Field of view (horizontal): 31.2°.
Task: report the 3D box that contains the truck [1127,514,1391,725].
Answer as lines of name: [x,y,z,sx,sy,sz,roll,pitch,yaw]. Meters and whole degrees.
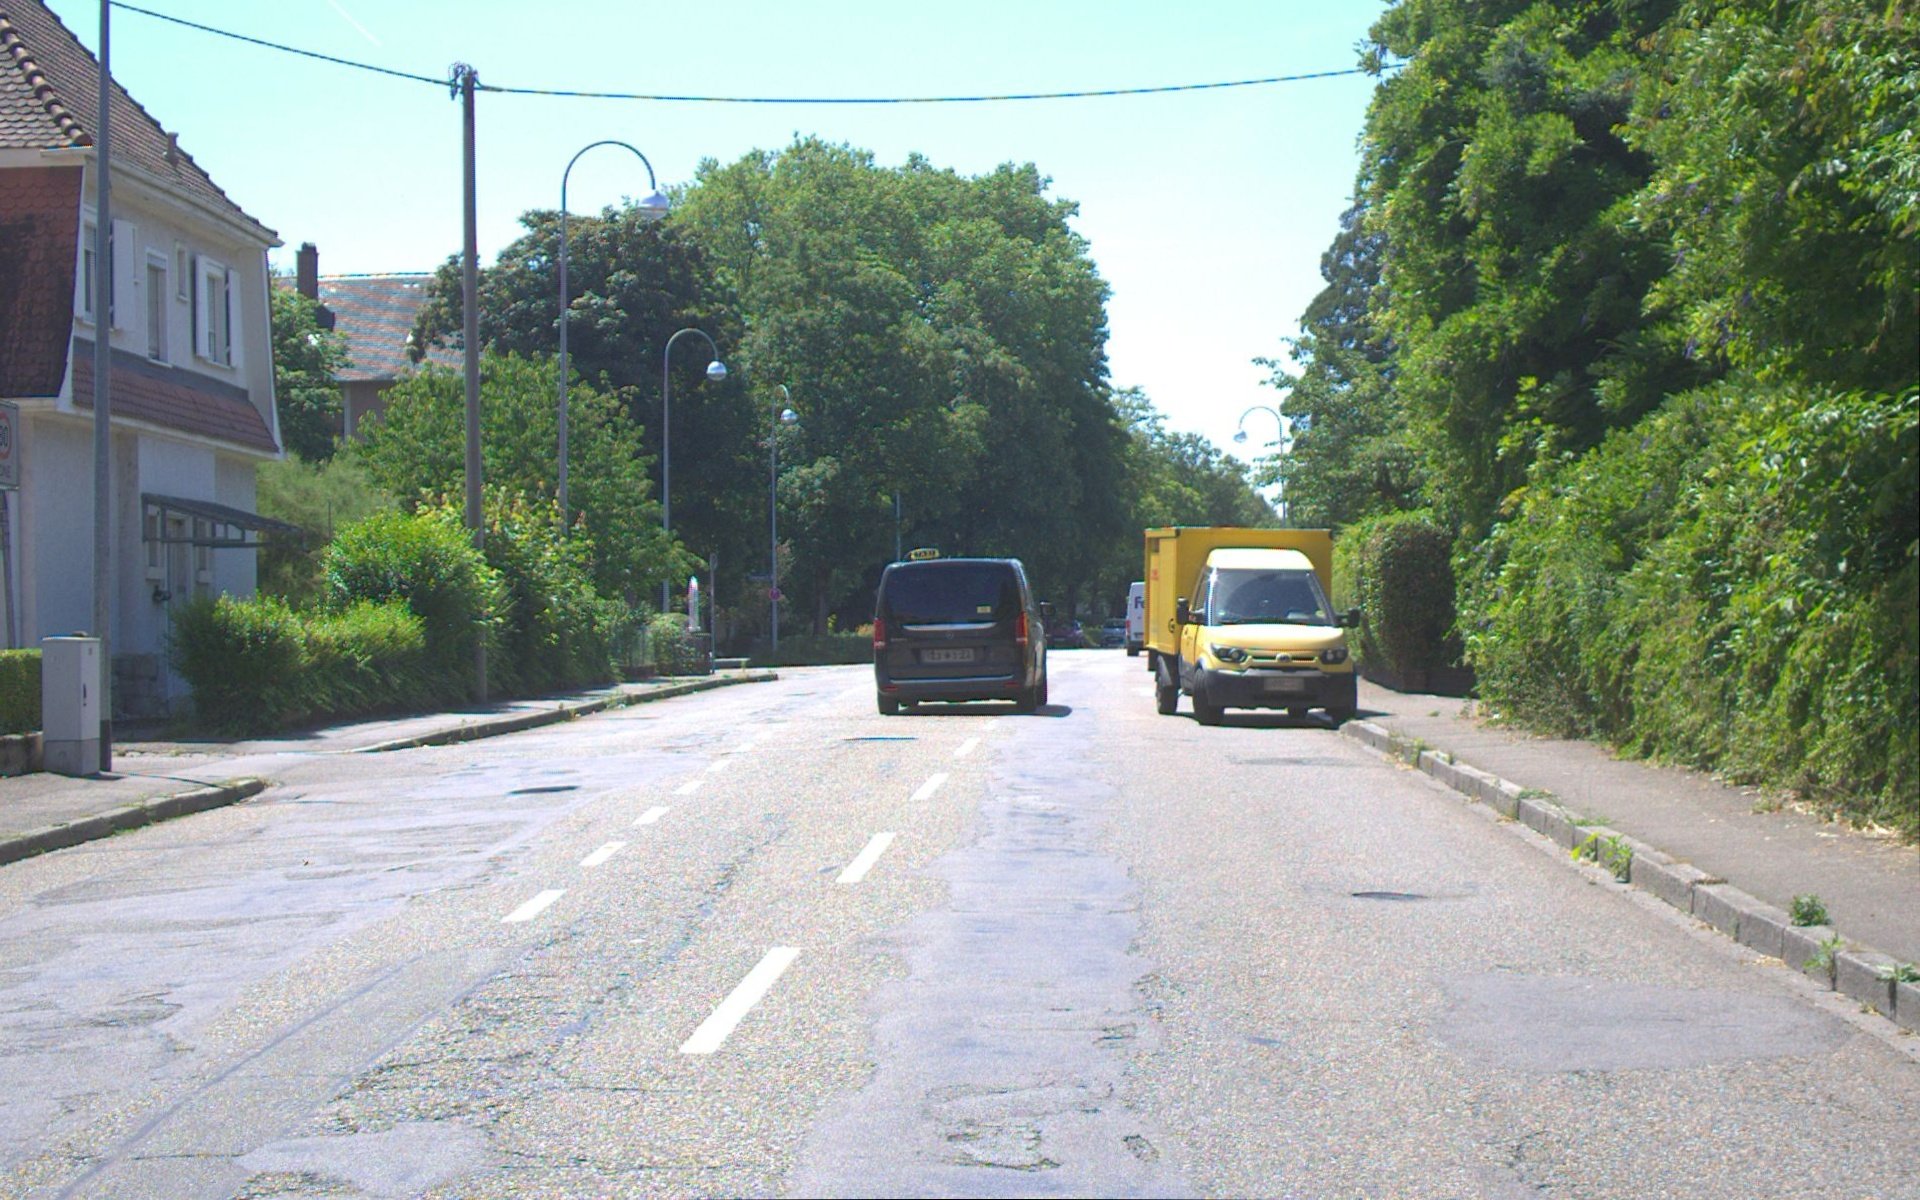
truck: [3.386,0.213,40.256,2.355,2.251,6.092,-1,0,-2]

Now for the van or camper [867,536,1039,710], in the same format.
van or camper: [-0.017,0.261,42.233,1.903,2.007,5.269,0,0,2]

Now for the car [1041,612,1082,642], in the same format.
car: [5.000,1.321,169.158,1.549,1.444,3.004,-1,0,11]

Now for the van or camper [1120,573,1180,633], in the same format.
van or camper: [6.630,0.113,119.445,1.994,2.007,3.999,-1,0,4]

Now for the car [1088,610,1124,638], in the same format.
car: [7.917,1.297,186.254,1.549,1.444,3.004,-1,0,11]
